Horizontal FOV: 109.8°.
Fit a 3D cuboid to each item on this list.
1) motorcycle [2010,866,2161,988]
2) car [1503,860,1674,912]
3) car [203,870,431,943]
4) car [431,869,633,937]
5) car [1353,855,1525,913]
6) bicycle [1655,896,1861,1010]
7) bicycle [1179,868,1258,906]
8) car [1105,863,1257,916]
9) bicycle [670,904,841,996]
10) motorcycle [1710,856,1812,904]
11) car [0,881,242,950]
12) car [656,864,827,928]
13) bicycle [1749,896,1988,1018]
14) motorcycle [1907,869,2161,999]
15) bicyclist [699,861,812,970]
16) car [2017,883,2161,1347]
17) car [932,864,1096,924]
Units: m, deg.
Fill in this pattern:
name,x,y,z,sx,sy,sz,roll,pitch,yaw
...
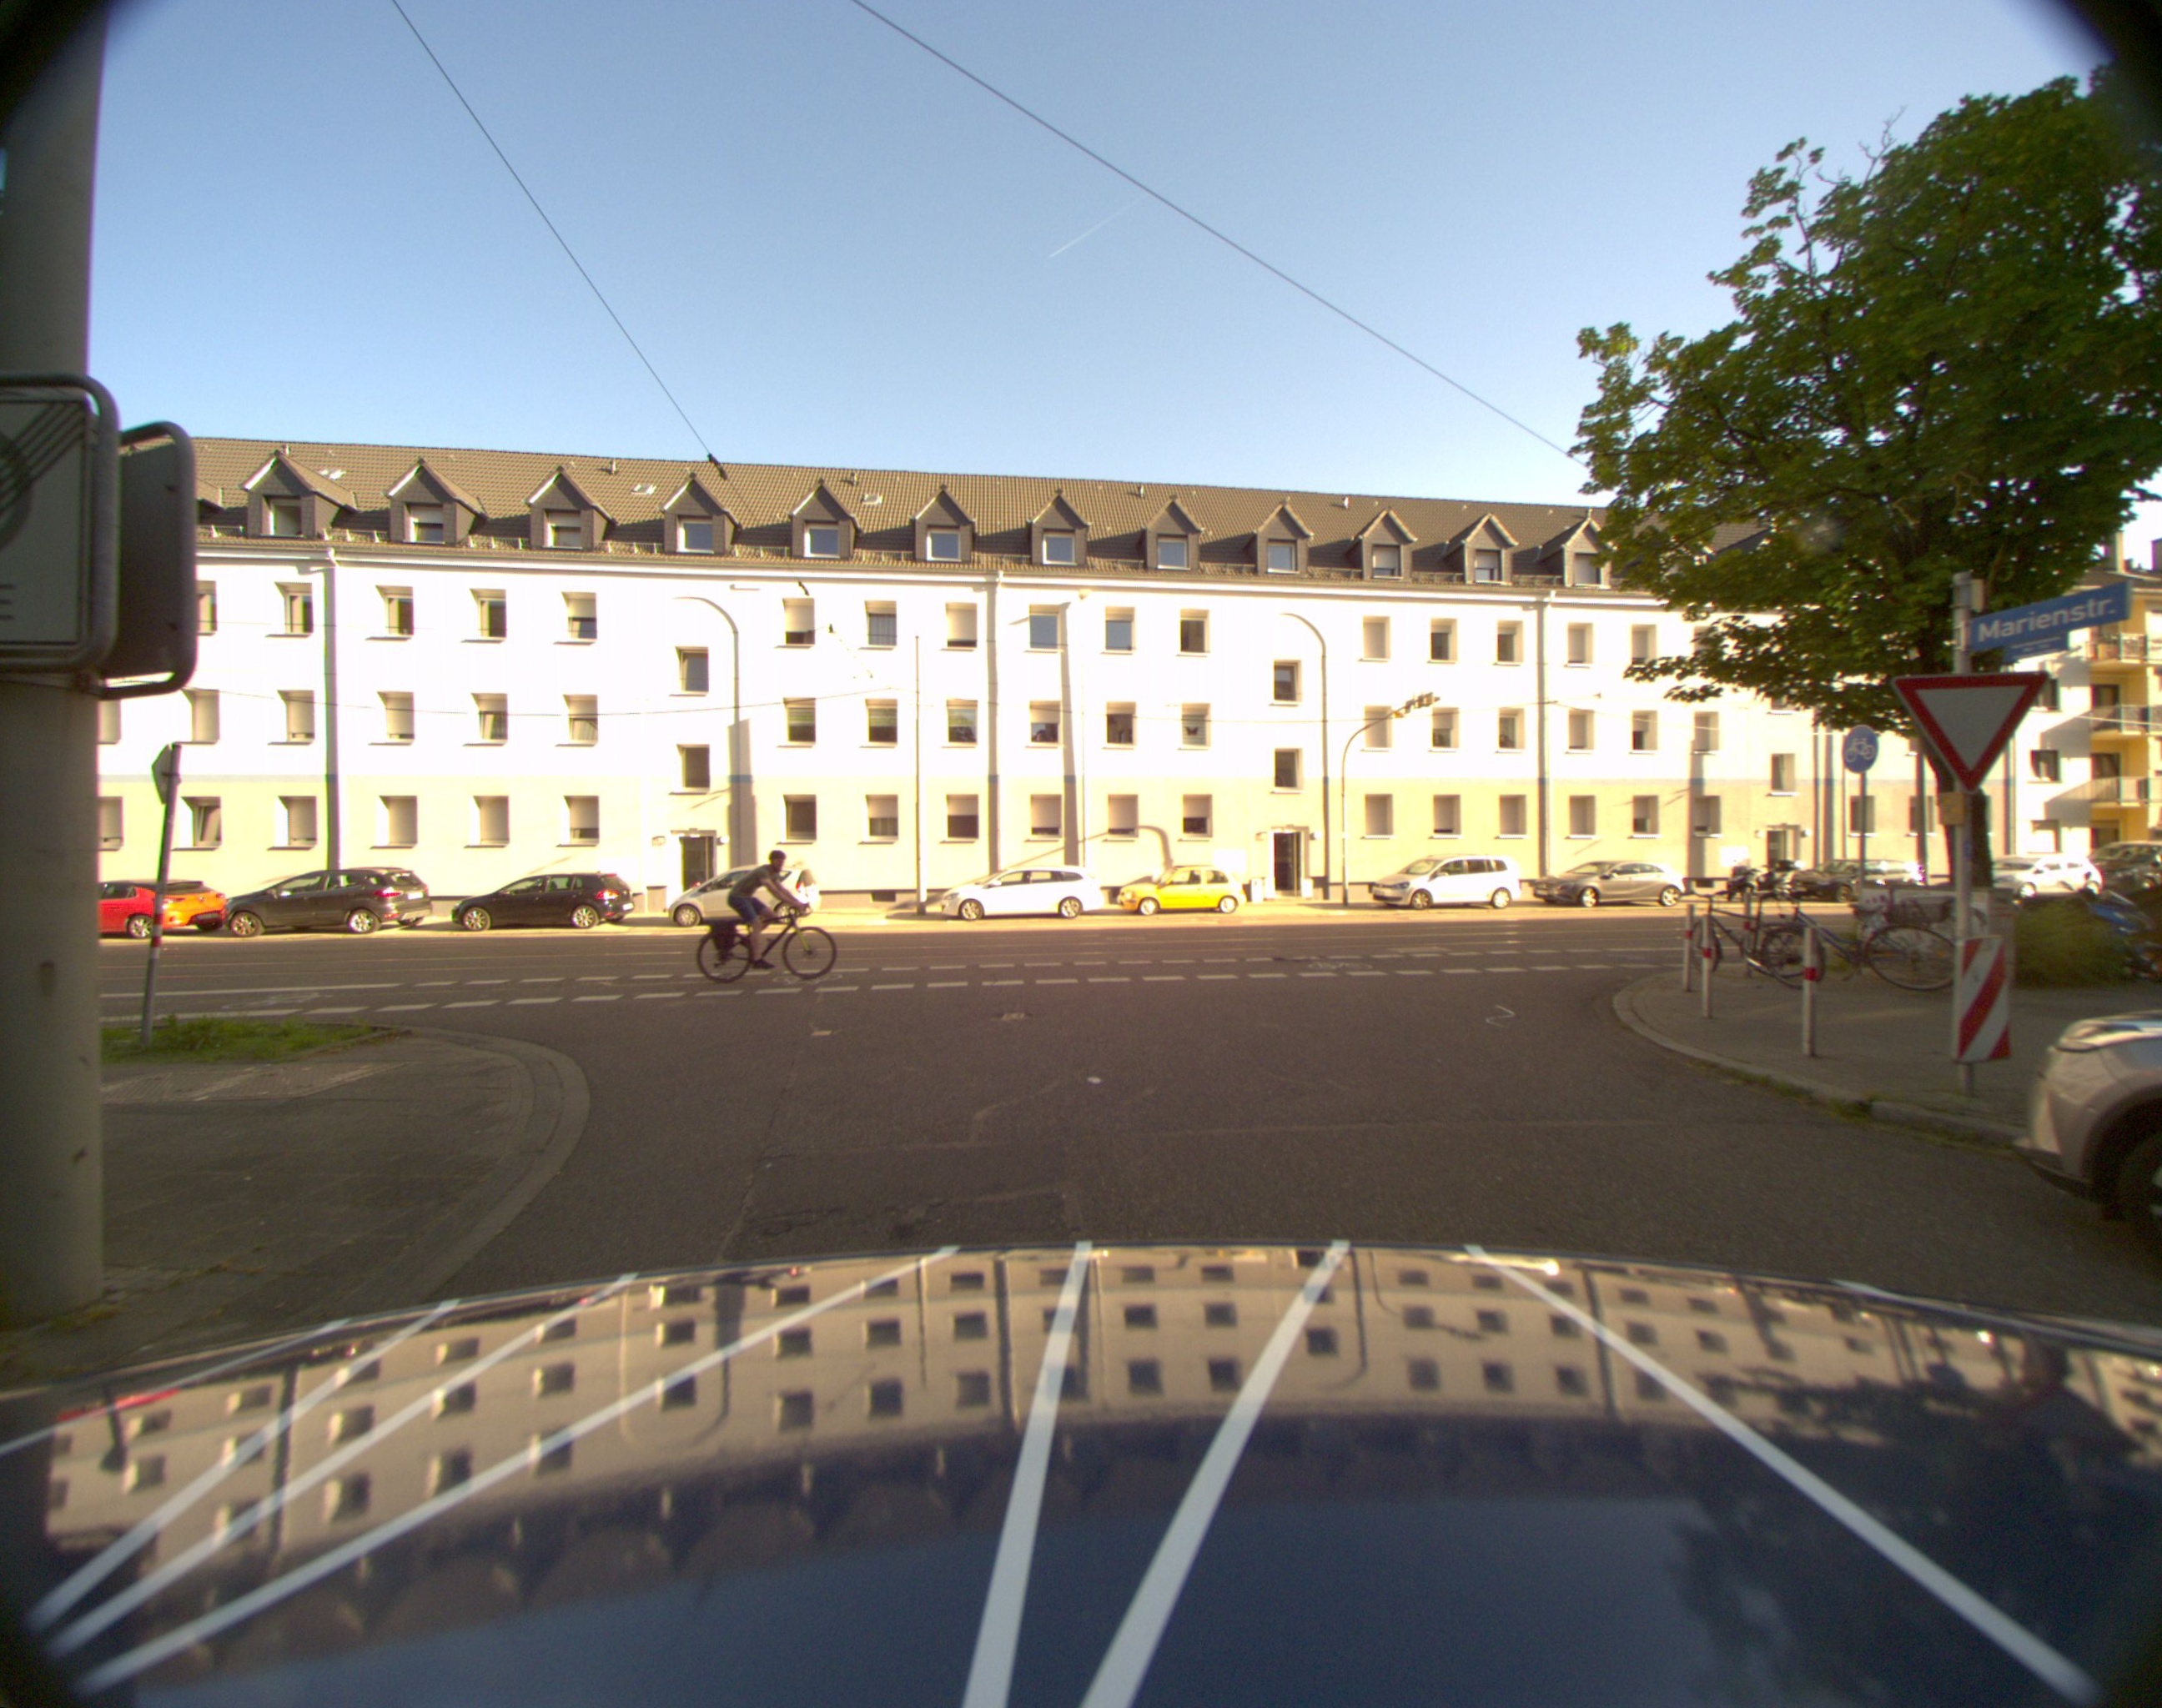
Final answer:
name,x,y,z,sx,sy,sz,roll,pitch,yaw
motorcycle,13.229,0.884,9.428,0.836,1.438,1.973,0,0,-14
car,16.271,1.001,24.477,4.365,1.546,1.868,0,2,-6
car,-19.562,1.312,19.623,3.903,1.661,1.664,0,4,-7
car,-14.474,1.261,20.252,4.007,1.530,1.594,0,5,-9
car,11.020,0.872,23.505,4.626,1.656,1.758,0,2,-10
bicycle,7.717,1.077,8.797,0.595,1.078,1.882,0,0,-5
bicycle,4.519,1.063,25.013,2.327,1.190,1.098,0,0,-8
car,2.905,1.019,22.464,4.201,1.422,1.517,0,1,-8
bicycle,-4.225,1.235,9.977,1.960,1.095,0.624,0,2,-8
motorcycle,21.990,0.831,24.599,2.708,1.513,0.807,0,2,-6
car,-24.187,1.496,19.131,3.778,1.475,1.799,0,4,-6
car,-9.208,1.111,20.899,3.903,1.562,1.758,0,3,-6
bicycle,8.361,1.035,8.198,0.595,1.078,1.811,0,0,-5
motorcycle,12.029,0.932,9.648,0.721,1.438,1.973,0,0,-14
bicyclist,-4.191,0.752,9.897,1.095,1.323,1.186,0,0,-9
car,4.988,0.983,1.203,1.909,1.650,3.998,2,0,-5
car,-1.916,1.096,21.726,4.509,1.562,1.683,0,2,-7
